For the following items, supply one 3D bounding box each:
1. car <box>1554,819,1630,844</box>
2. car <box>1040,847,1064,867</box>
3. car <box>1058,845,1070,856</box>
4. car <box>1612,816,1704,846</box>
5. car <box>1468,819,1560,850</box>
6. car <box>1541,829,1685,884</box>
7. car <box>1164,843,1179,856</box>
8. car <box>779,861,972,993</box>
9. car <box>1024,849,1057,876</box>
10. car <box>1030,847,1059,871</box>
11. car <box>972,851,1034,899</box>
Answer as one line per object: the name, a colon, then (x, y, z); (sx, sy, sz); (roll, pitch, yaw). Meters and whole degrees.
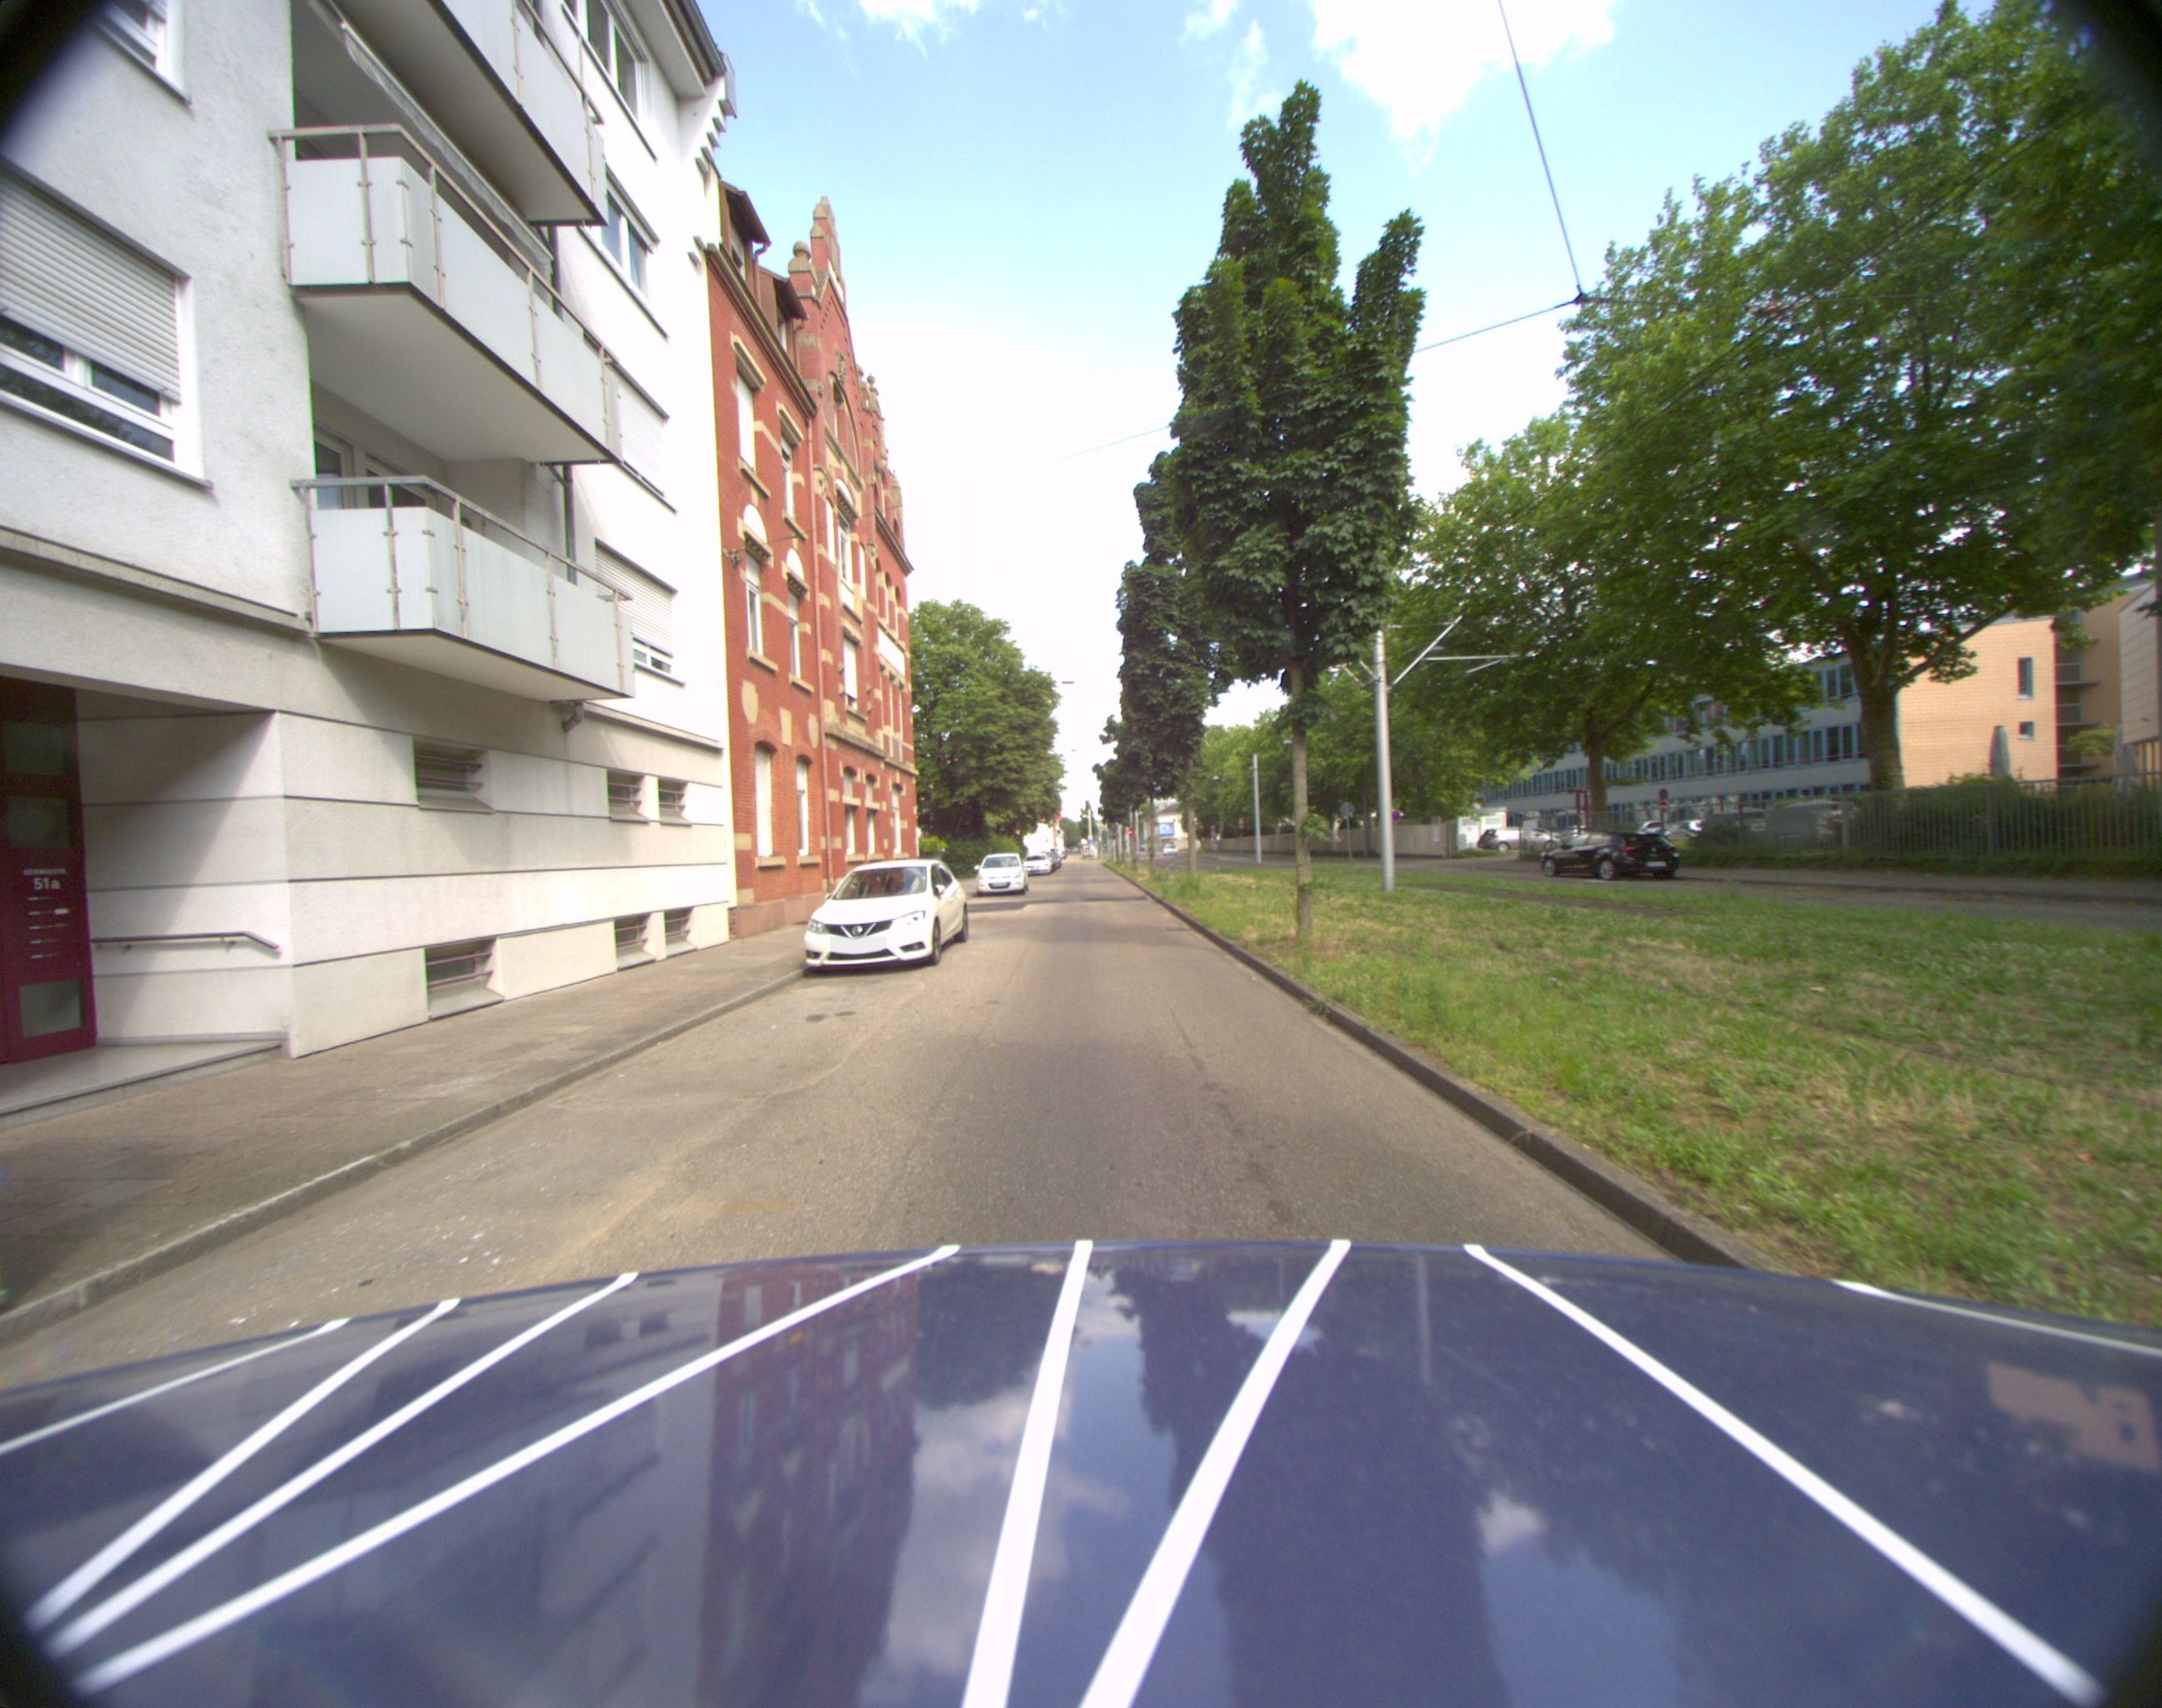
car: (35.862, -1.593, 53.411); (3.997, 1.609, 1.999); (-2, 1, -1)
car: (-2.542, 0.251, 66.670); (1.801, 1.521, 4.040); (-5, 1, 0)
car: (-2.763, -0.573, 124.985); (1.801, 1.521, 4.040); (-5, 1, 0)
car: (34.569, -1.367, 45.580); (3.997, 1.609, 1.999); (-2, 1, -1)
car: (24.382, -1.079, 42.872); (3.997, 1.609, 1.999); (-2, 1, -1)
car: (15.775, 0.043, 22.798); (1.601, 1.455, 4.000); (-2, 1, 2)
car: (12.390, -0.654, 104.274); (1.800, 1.521, 4.043); (-3, 1, 9)
car: (-2.918, 0.959, 11.760); (1.801, 1.521, 4.040); (-3, 1, 0)
car: (-2.616, 0.501, 49.589); (1.801, 1.521, 4.040); (-5, 1, 0)
car: (-2.664, 0.355, 55.798); (1.801, 1.521, 4.040); (-5, 1, 0)
car: (-2.795, 0.711, 28.097); (1.801, 1.521, 4.040); (-3, 1, 0)
